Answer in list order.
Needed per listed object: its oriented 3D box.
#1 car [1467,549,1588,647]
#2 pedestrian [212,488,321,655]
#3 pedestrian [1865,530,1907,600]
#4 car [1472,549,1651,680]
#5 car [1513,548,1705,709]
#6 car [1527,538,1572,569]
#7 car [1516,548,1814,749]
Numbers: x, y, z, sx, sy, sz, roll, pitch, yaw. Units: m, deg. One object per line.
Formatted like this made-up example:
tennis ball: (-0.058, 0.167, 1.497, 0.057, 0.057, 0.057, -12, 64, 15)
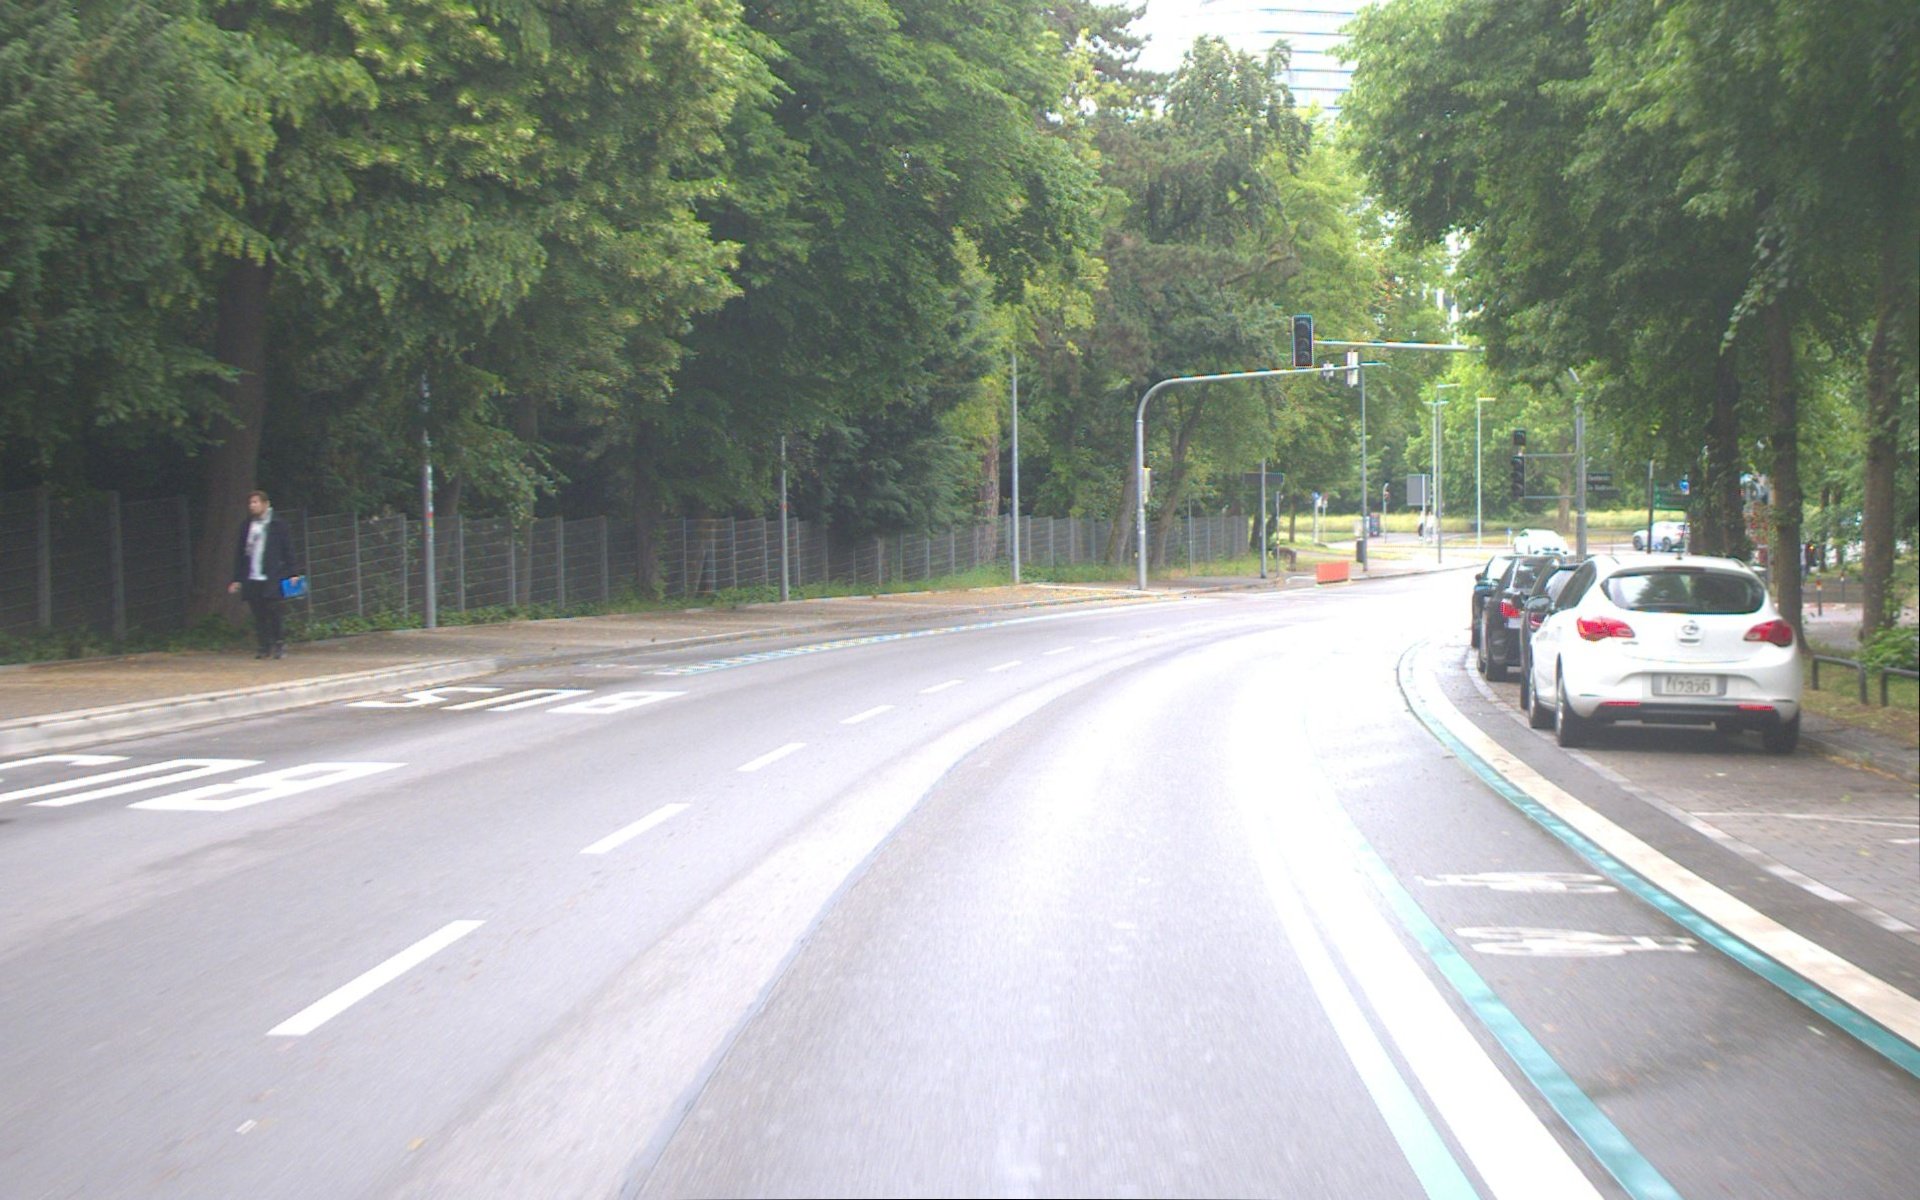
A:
car: (8.928, -0.064, 54.342, 1.699, 1.415, 4.762, 2, 1, 8)
pedestrian: (-7.351, -0.309, 36.496, 0.887, 1.727, 1.146, 1, 1, 2)
pedestrian: (23.029, -0.872, 85.517, 0.888, 1.727, 1.145, 1, 1, 19)
car: (7.028, 0.127, 40.541, 1.782, 1.403, 4.844, 2, 1, 7)
car: (6.279, 0.235, 33.615, 1.684, 1.423, 4.316, 2, 1, 9)
car: (30.161, -2.376, 175.784, 1.845, 1.452, 4.497, 1, 2, 15)
car: (5.558, 0.322, 27.611, 1.860, 1.423, 4.648, 2, 1, 6)
